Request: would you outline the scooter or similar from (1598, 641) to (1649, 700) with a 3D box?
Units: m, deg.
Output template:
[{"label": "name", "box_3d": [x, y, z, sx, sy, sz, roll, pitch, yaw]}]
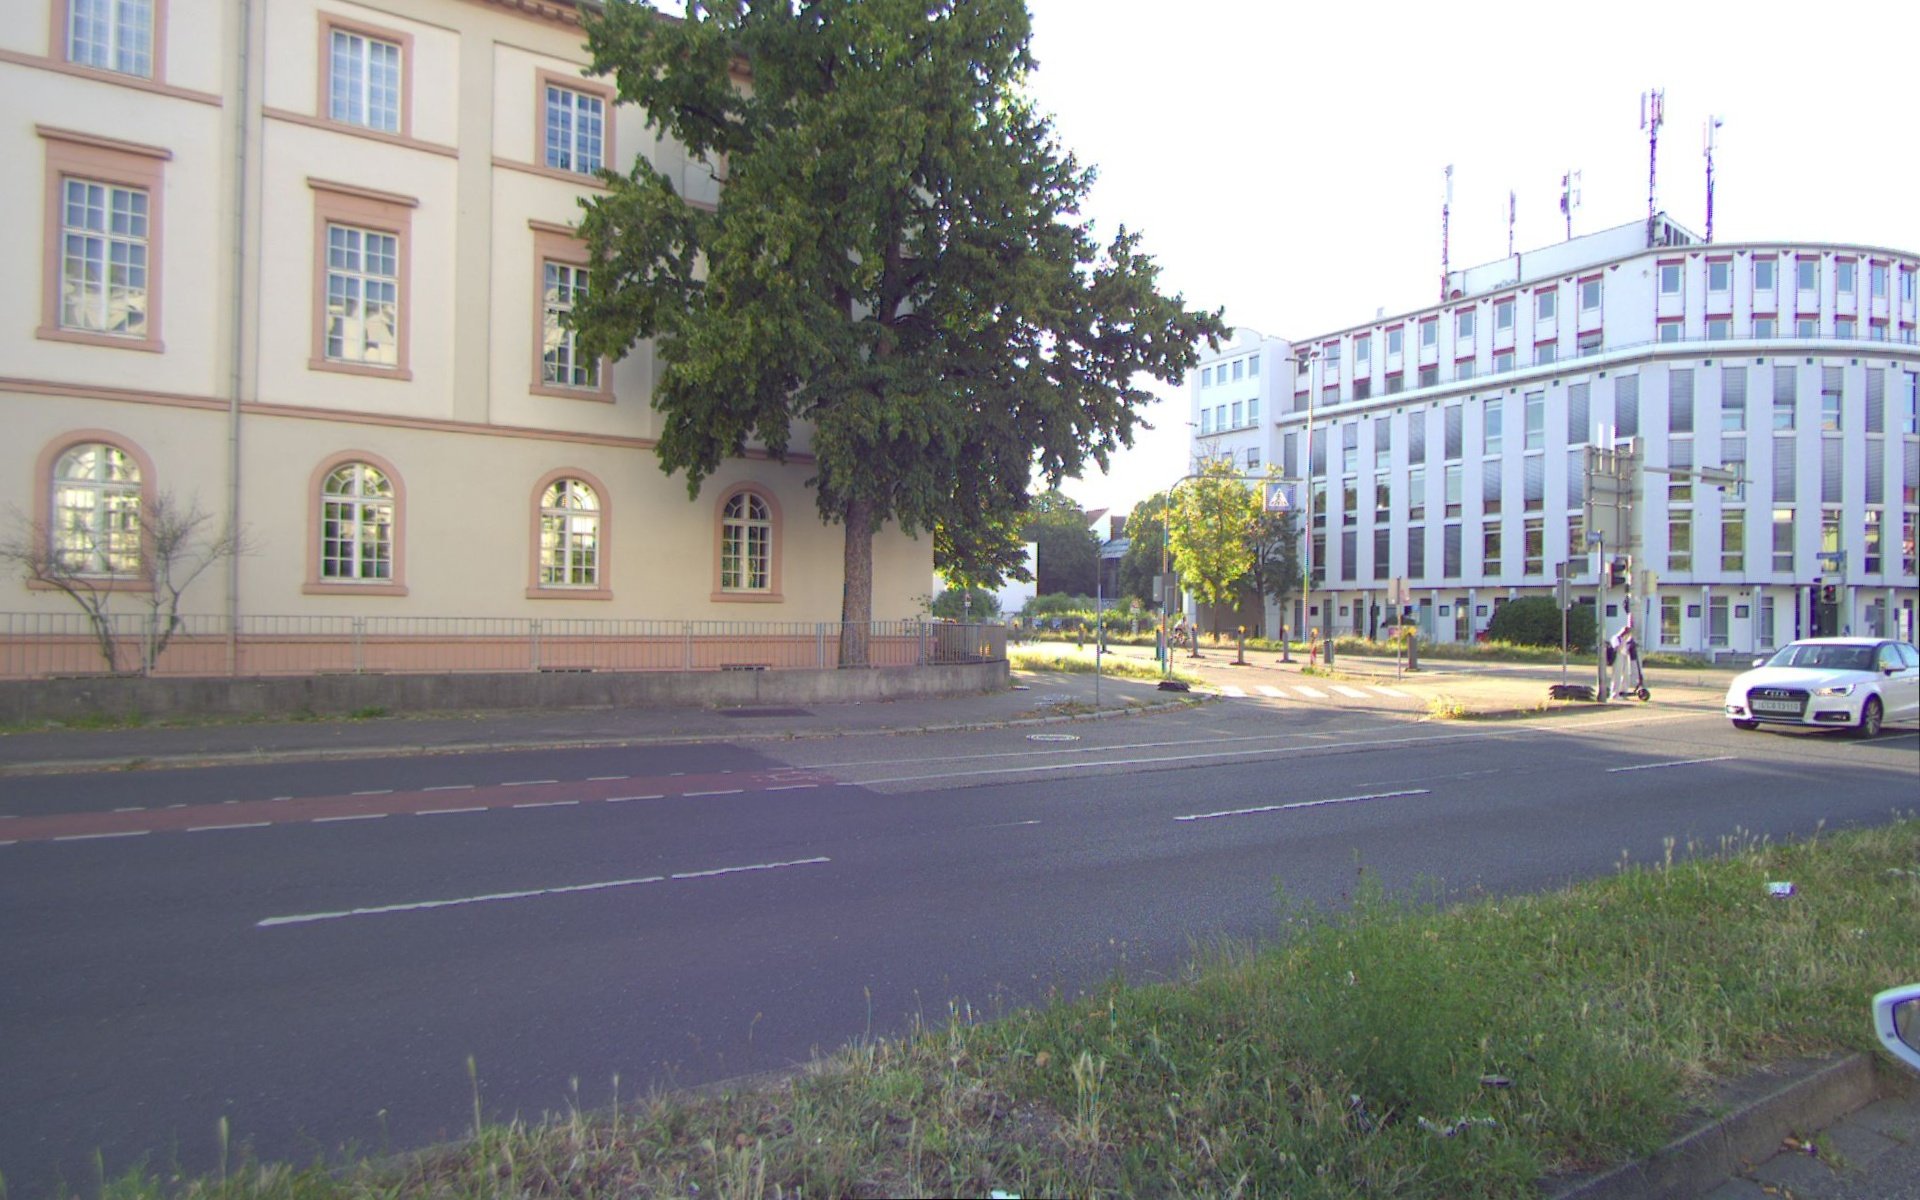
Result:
[{"label": "scooter or similar", "box_3d": [14.690, 1.541, 22.249, 0.368, 1.250, 0.885, 1, -1, -40]}]

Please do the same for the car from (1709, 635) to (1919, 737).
[{"label": "car", "box_3d": [13.497, 1.258, 15.521, 3.640, 1.406, 1.685, 1, -2, -28]}]

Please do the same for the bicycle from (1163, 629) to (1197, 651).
[{"label": "bicycle", "box_3d": [11.082, 2.022, 50.589, 0.498, 1.056, 1.786, 1, -1, -35]}]

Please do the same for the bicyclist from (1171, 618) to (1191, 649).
[{"label": "bicyclist", "box_3d": [11.113, 1.676, 50.539, 0.453, 1.516, 0.879, 1, -1, -36]}]

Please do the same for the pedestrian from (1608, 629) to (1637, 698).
[{"label": "pedestrian", "box_3d": [14.720, 1.402, 22.321, 0.332, 1.525, 0.470, 1, -1, -41]}]
